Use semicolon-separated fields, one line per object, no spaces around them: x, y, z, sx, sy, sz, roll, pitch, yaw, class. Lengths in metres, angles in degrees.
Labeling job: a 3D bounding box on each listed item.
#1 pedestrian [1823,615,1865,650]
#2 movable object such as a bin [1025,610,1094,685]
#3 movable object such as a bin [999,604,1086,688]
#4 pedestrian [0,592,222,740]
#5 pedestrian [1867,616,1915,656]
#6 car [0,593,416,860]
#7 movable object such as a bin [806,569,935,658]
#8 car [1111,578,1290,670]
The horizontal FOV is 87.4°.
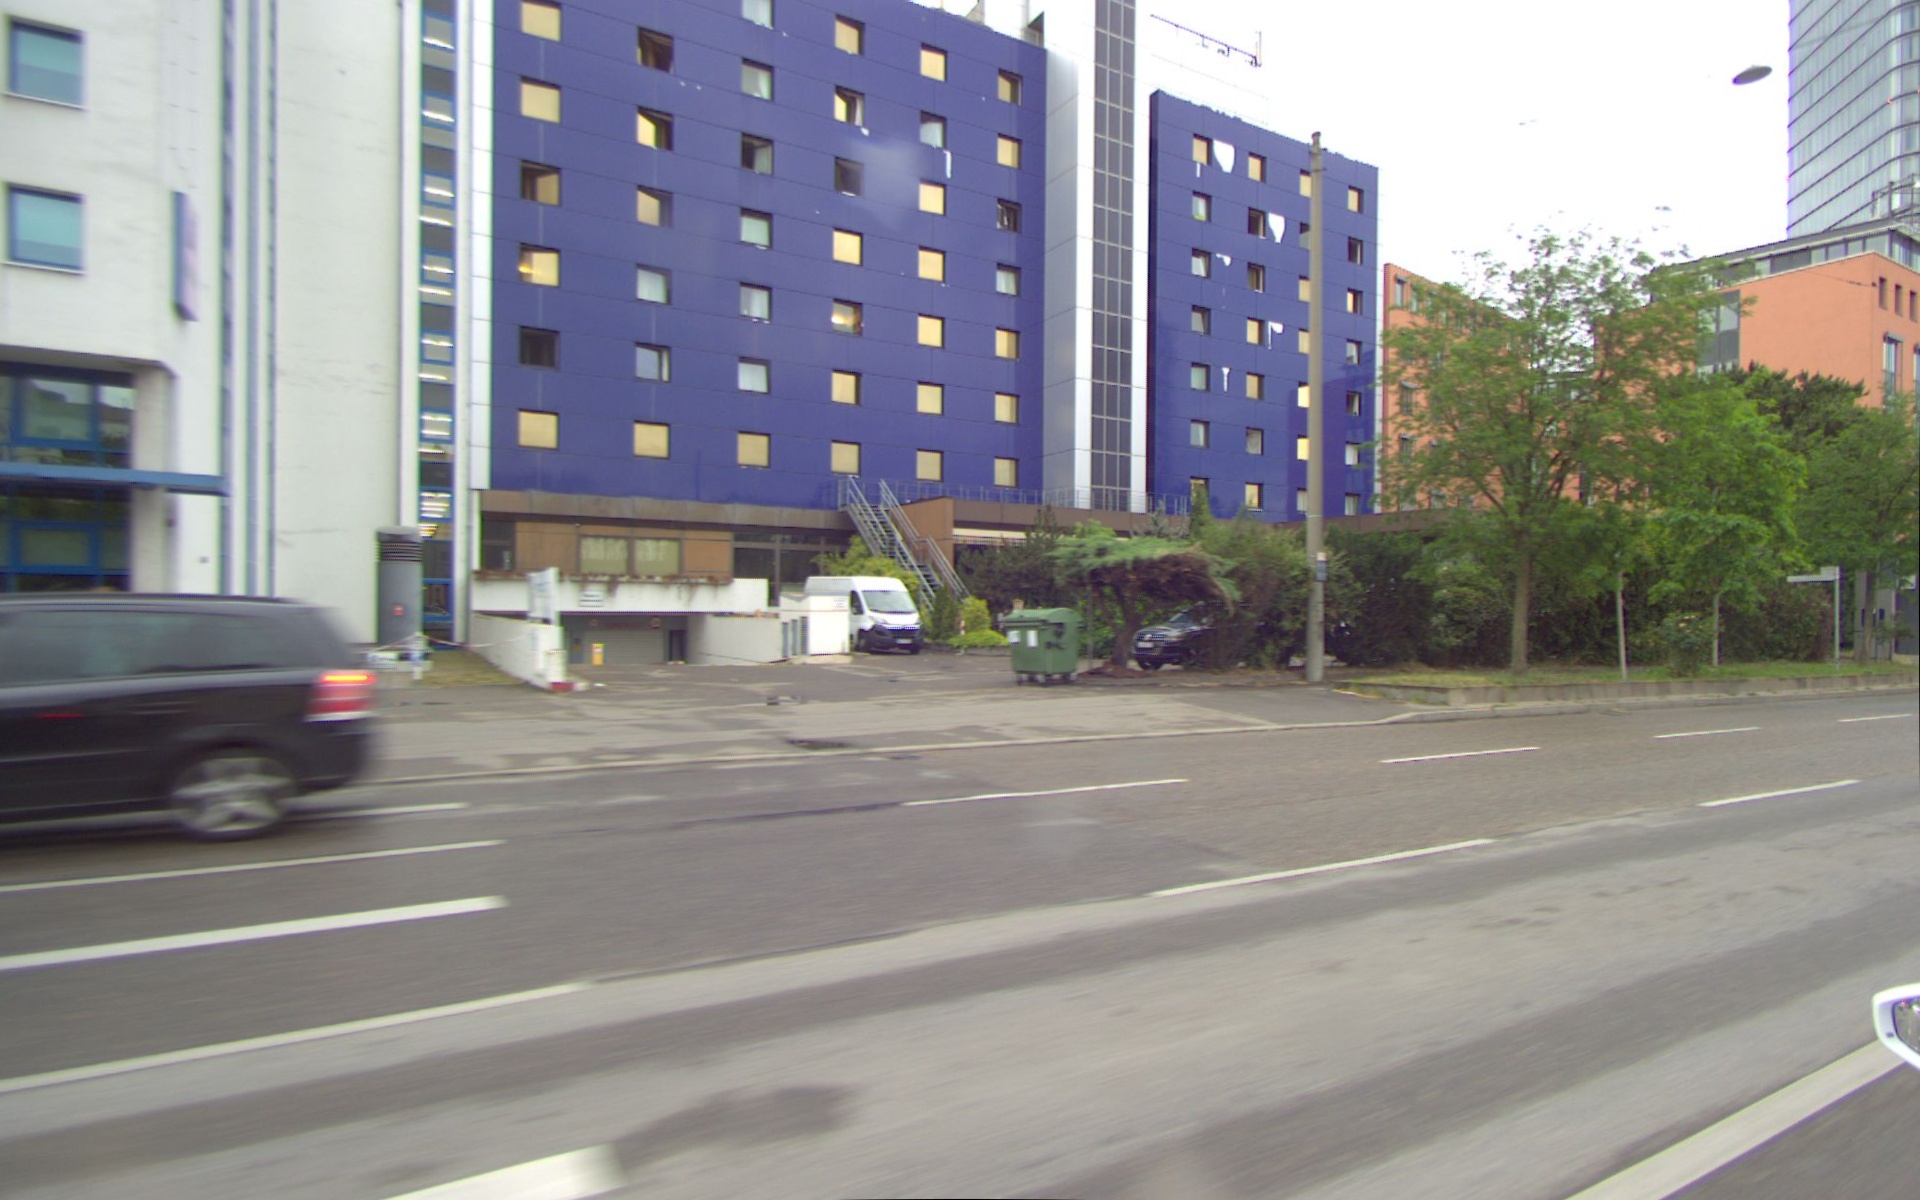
44.807;1.639;50.899;1.403;1.701;1.201;3;-4;-30;pedestrian
2.068;1.005;21.068;0.936;1.510;1.389;2;-4;-18;movable object such as a bin
1.576;0.882;19.354;0.942;1.510;1.381;-2;-1;-36;movable object such as a bin
-10.953;0.769;12.886;1.665;1.743;1.996;0;0;-10;pedestrian
45.043;1.766;48.619;1.422;1.847;1.309;3;-4;-30;pedestrian
-5.963;0.791;6.808;3.986;1.586;1.700;0;-3;-30;car
-3.112;0.584;33.583;2.136;2.662;5.601;3;-4;-29;movable object such as a bin
5.979;0.674;24.875;4.266;2.039;1.828;3;-4;-30;car
